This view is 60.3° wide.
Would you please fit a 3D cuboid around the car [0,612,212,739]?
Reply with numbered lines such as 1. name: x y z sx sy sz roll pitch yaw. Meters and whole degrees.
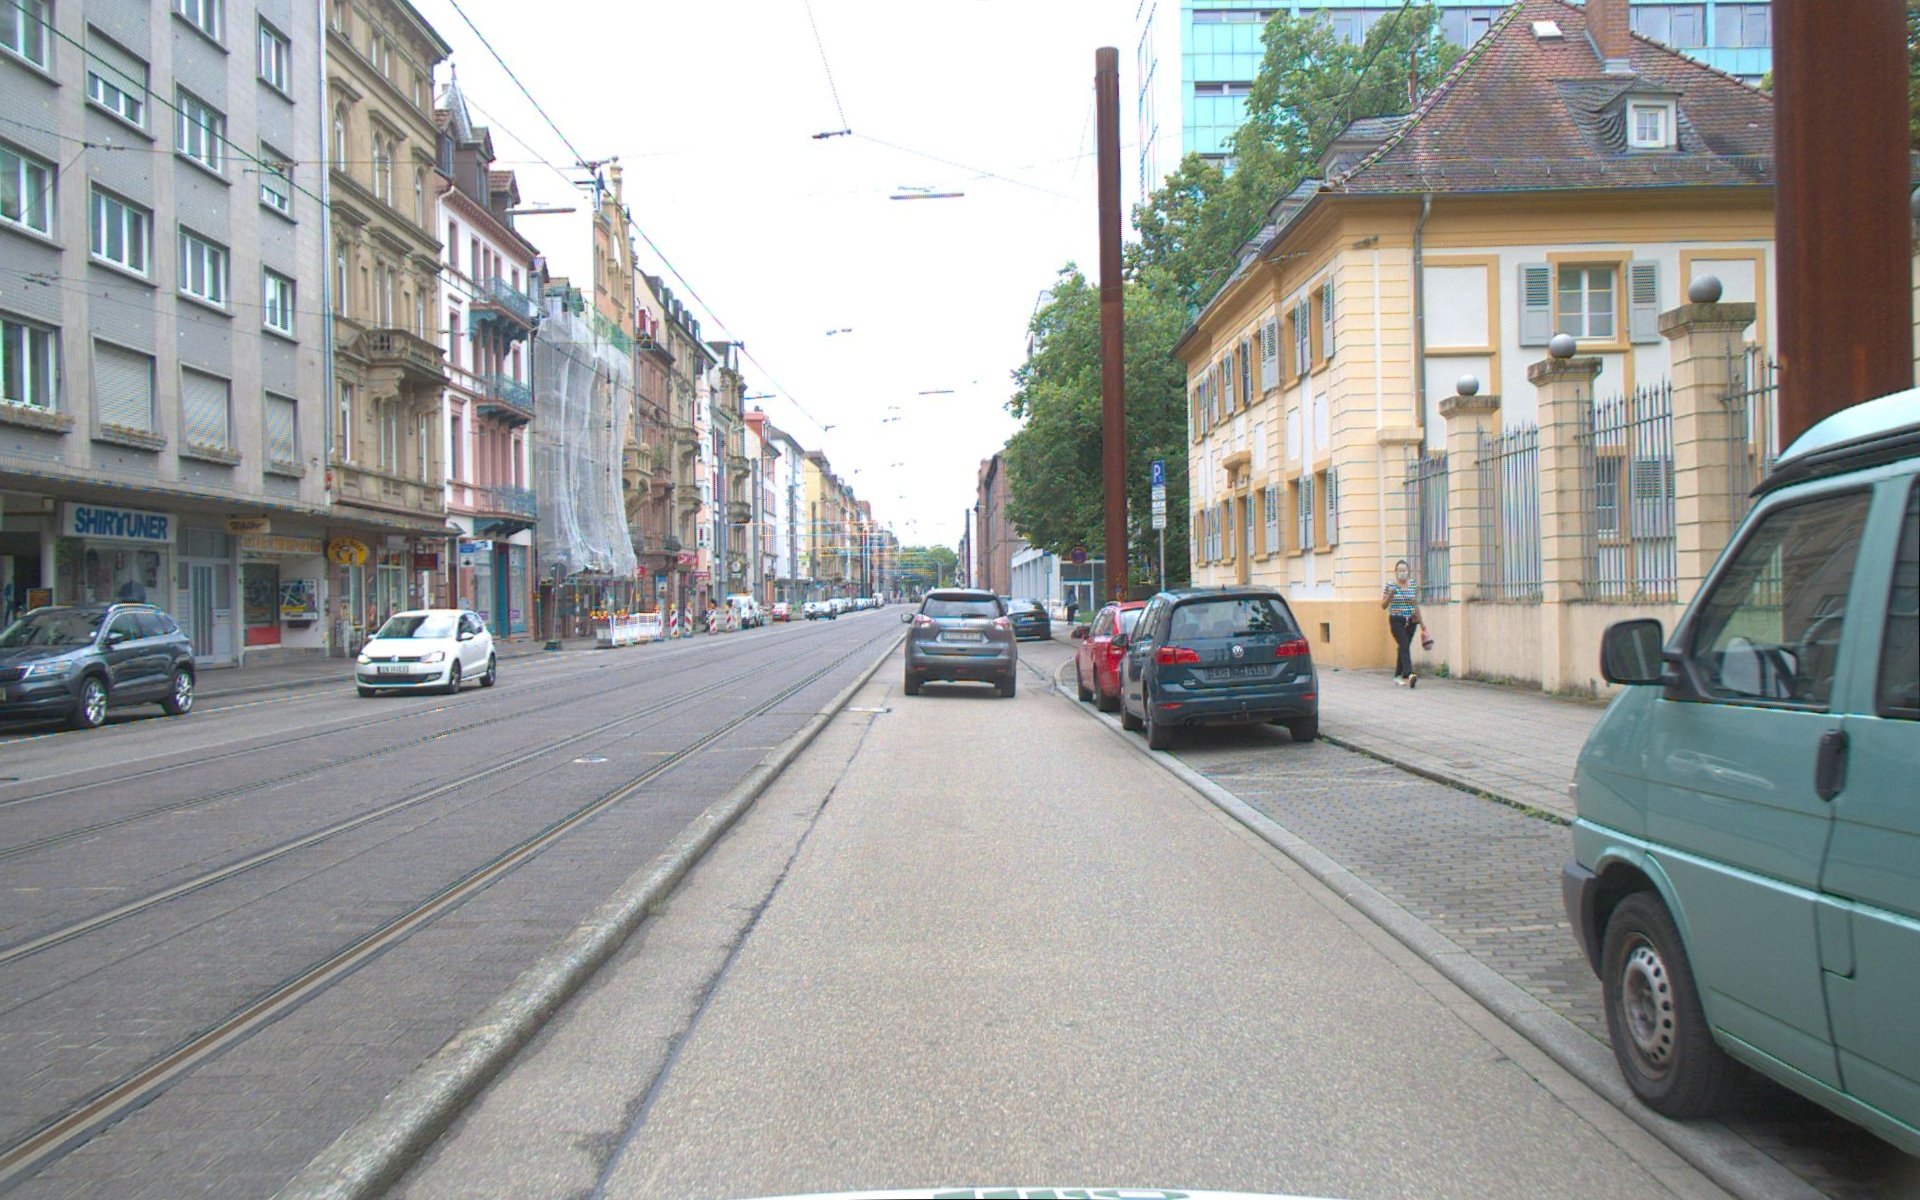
1. car: -12.209 0.969 22.912 1.740 1.531 4.401 -1 0 -1

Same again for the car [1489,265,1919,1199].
1. car: 2.886 0.343 3.393 1.814 2.151 4.983 -4 0 -1

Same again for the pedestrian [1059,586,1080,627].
1. pedestrian: 5.159 0.291 78.138 0.892 1.919 0.846 -1 -1 -1

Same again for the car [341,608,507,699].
1. car: -9.441 0.892 29.463 1.653 1.445 4.134 -1 0 -1

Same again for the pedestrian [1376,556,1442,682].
1. pedestrian: 6.248 0.259 23.048 0.629 1.717 0.891 -1 0 -1

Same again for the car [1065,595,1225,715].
1. car: 2.555 0.719 23.695 1.714 1.466 3.923 -4 0 -1

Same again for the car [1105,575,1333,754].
1. car: 2.677 0.618 17.965 1.714 1.623 3.923 -4 0 -1

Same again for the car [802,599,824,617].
1. car: -13.577 0.761 153.101 1.954 1.664 3.996 -1 -1 -4

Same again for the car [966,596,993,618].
1. car: 1.386 0.489 117.602 1.740 1.445 4.134 -1 0 -1

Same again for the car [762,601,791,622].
1. car: -13.569 0.836 122.718 1.954 1.490 3.996 -1 -1 -4

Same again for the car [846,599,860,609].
1. car: -14.587 0.502 225.742 1.954 1.288 3.996 -1 -1 -4

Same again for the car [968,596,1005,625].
1. car: 1.318 0.514 85.098 1.740 1.445 4.134 -1 0 -1

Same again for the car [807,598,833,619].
1. car: -11.101 0.695 131.322 1.954 1.664 3.996 -1 -1 -4

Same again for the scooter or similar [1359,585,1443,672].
1. scooter or similar: 6.699 0.434 25.212 0.731 1.272 1.918 -1 -1 -1

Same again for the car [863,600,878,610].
1. car: -13.073 0.722 242.077 1.953 1.288 3.999 -1 -1 -1

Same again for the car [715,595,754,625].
1. car: -13.224 0.605 97.260 1.954 1.736 3.996 -1 -1 -4

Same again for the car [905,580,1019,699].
1. car: 0.001 0.609 27.394 1.714 1.786 3.923 2 0 -1

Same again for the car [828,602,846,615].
1. car: -13.499 0.942 182.207 1.954 1.288 3.996 -1 -1 -4

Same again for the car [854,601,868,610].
1. car: -14.962 0.856 249.325 1.953 1.288 3.999 -1 -1 -1

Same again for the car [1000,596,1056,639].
1. car: 2.405 0.598 59.225 1.740 1.445 4.134 -1 0 -1

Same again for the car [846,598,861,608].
1. car: -14.269 0.443 221.368 1.954 1.288 3.996 -1 -1 -4
